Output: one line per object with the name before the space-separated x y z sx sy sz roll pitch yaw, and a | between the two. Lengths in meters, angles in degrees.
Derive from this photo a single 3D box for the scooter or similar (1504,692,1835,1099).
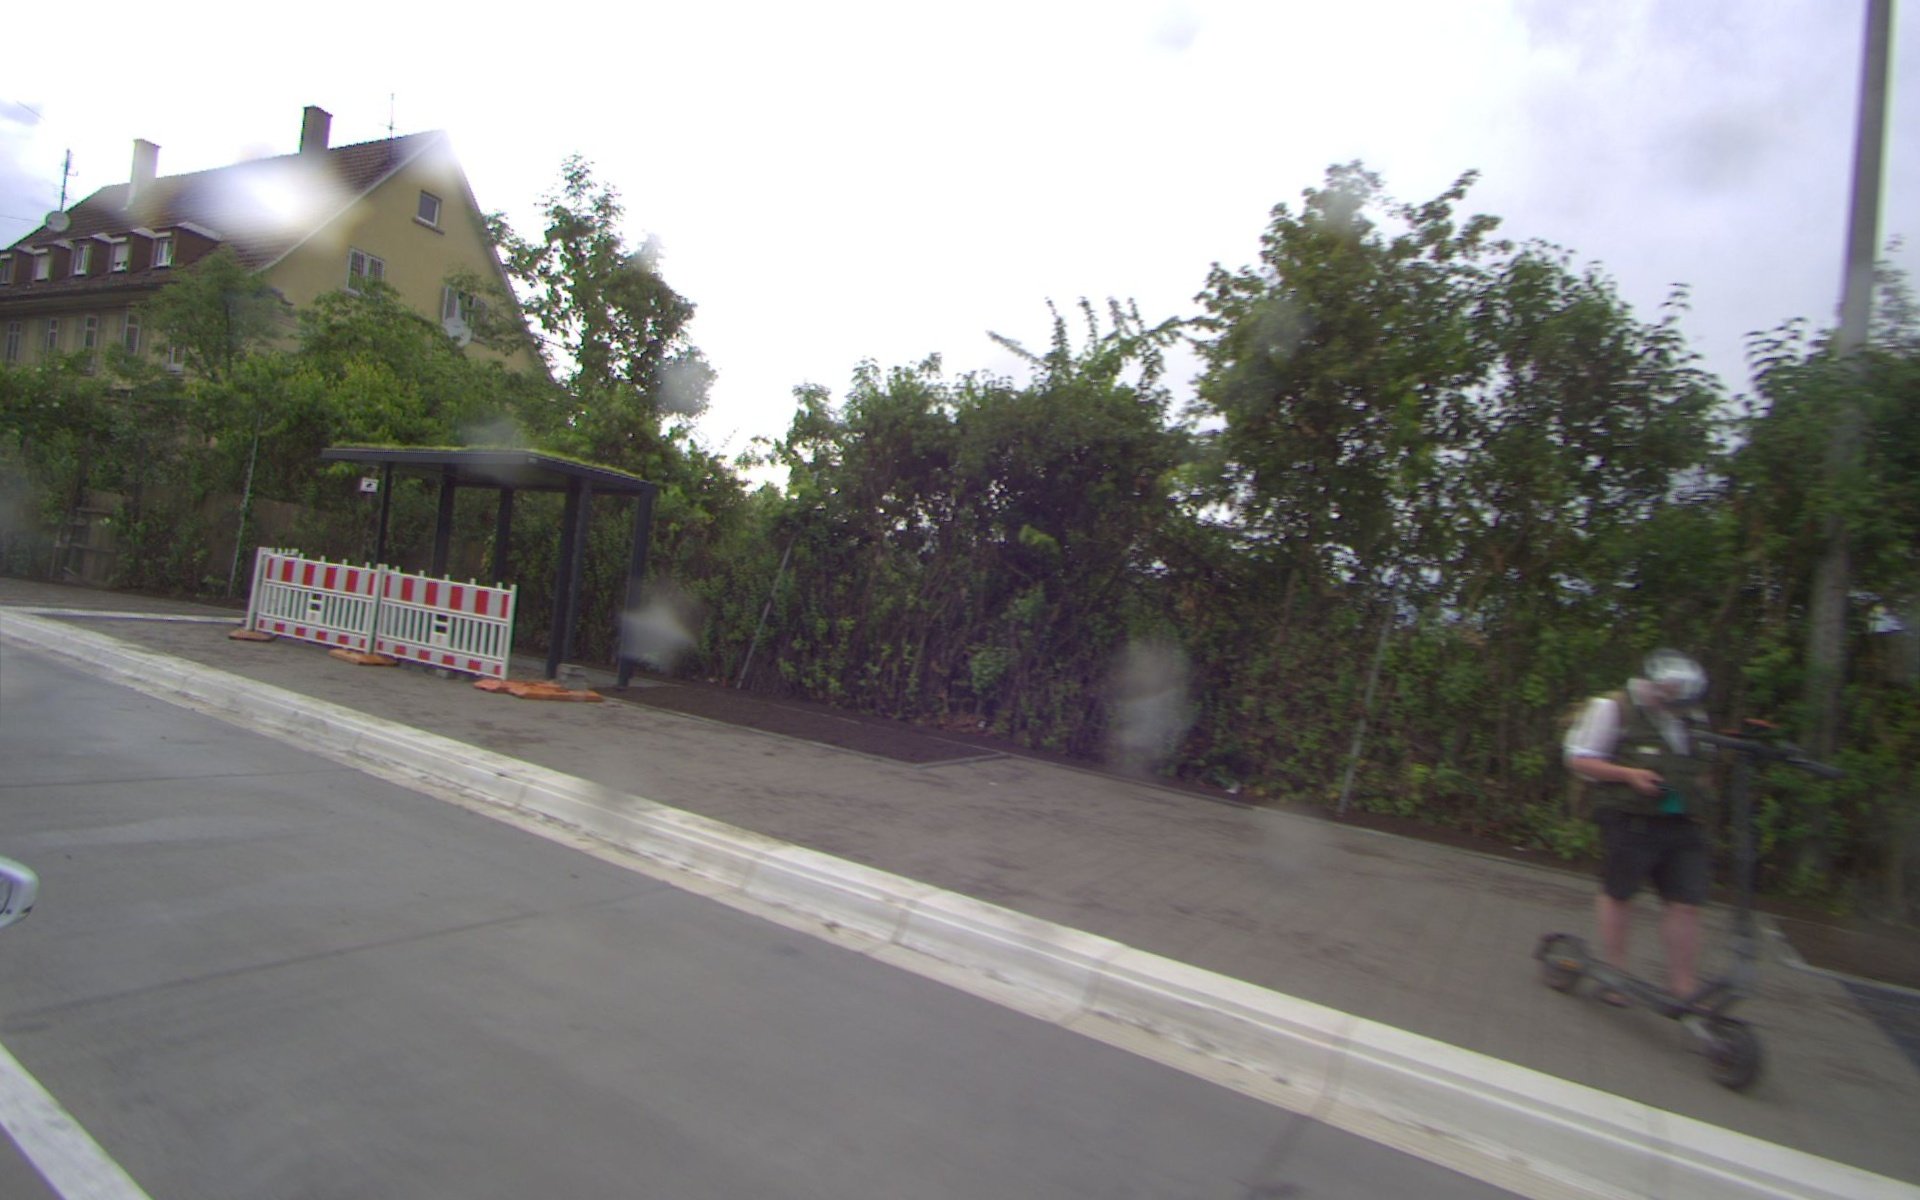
scooter or similar | 2.862 1.112 4.196 0.228 1.331 1.242 7 -1 -7

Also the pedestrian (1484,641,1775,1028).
pedestrian | 3.067 1.012 4.704 0.535 1.565 0.920 6 0 -4
